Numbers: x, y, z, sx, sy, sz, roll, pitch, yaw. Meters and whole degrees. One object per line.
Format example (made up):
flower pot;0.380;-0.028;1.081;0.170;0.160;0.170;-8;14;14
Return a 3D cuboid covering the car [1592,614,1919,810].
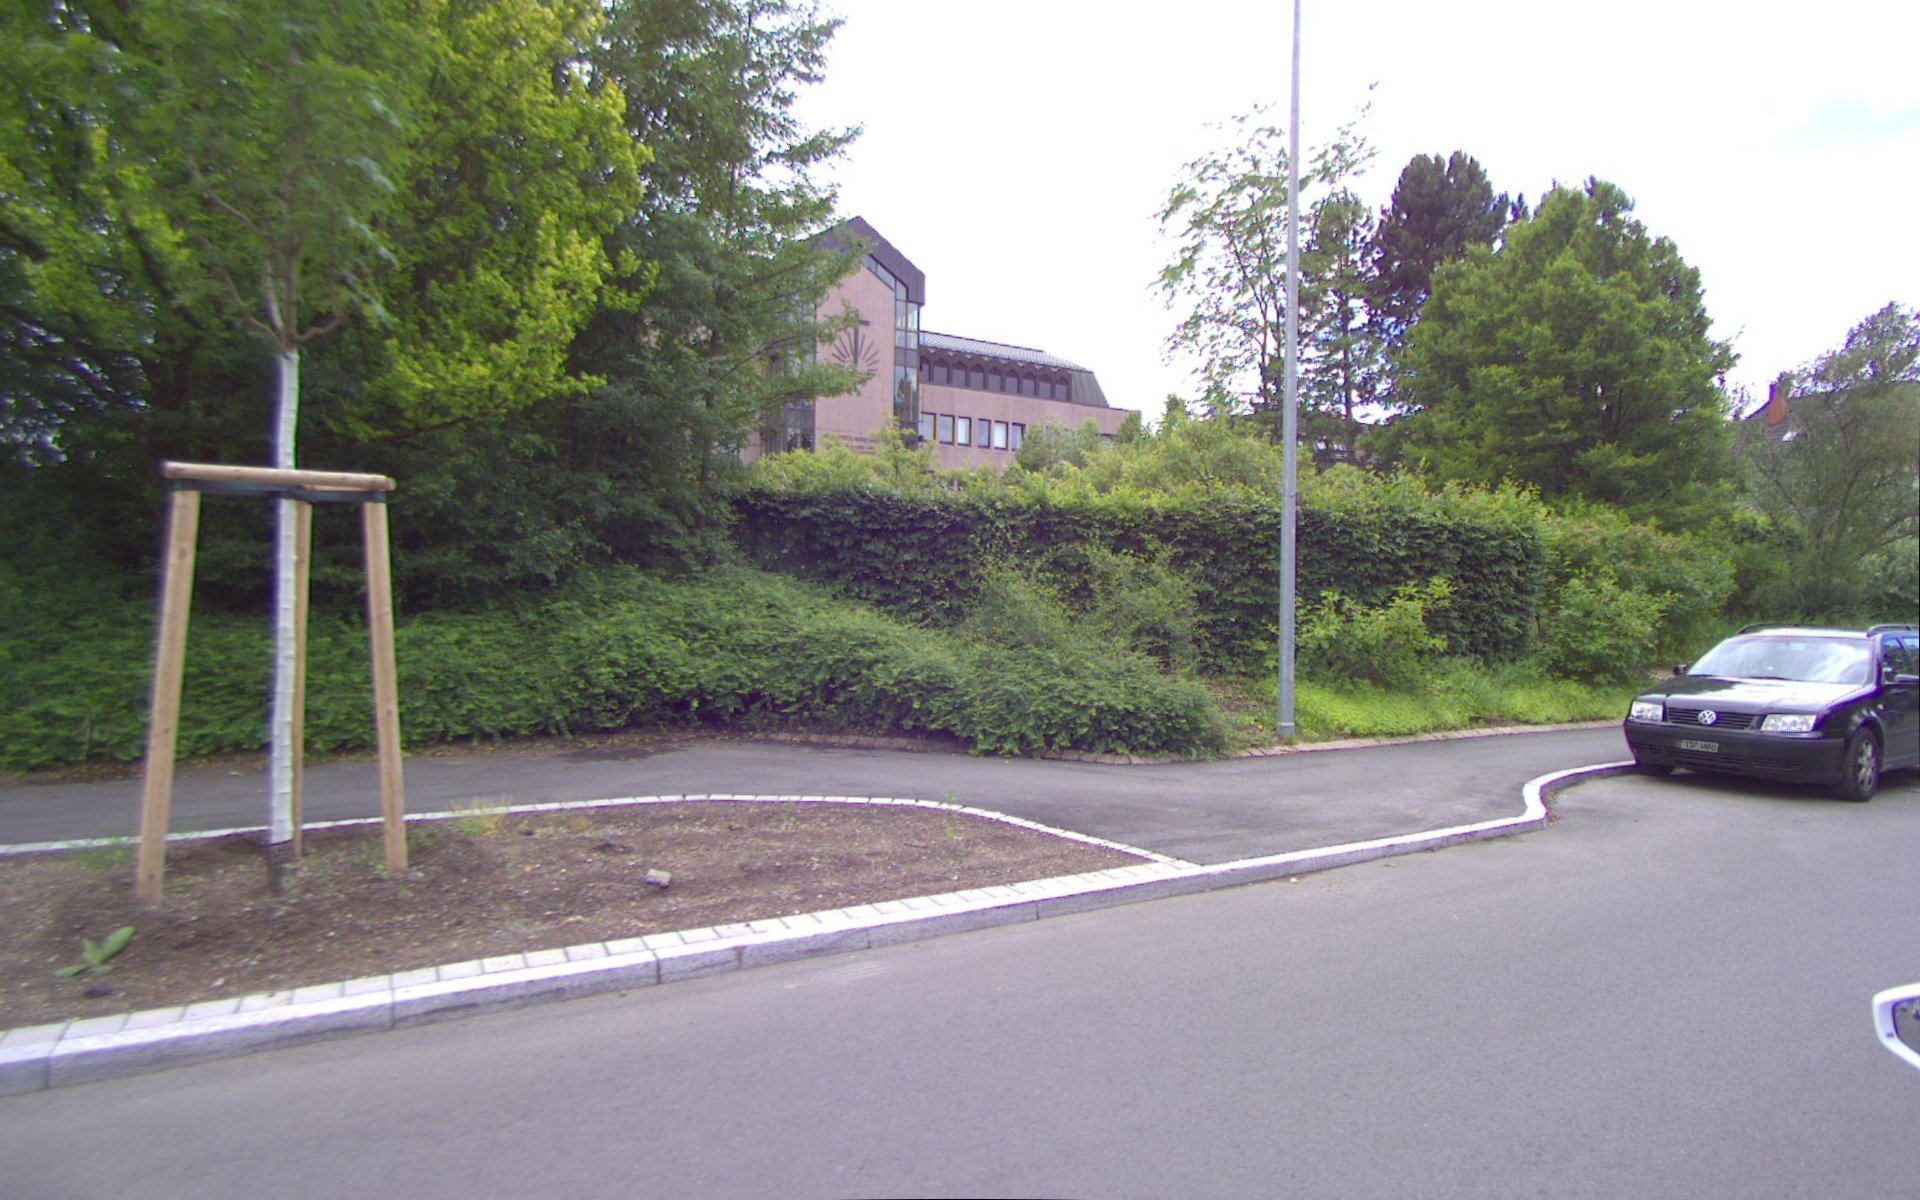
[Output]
car;8.251;0.930;9.724;4.638;1.502;1.674;1;0;-31

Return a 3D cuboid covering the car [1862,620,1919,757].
car;12.677;1.023;11.869;4.441;1.502;1.699;1;0;-30
